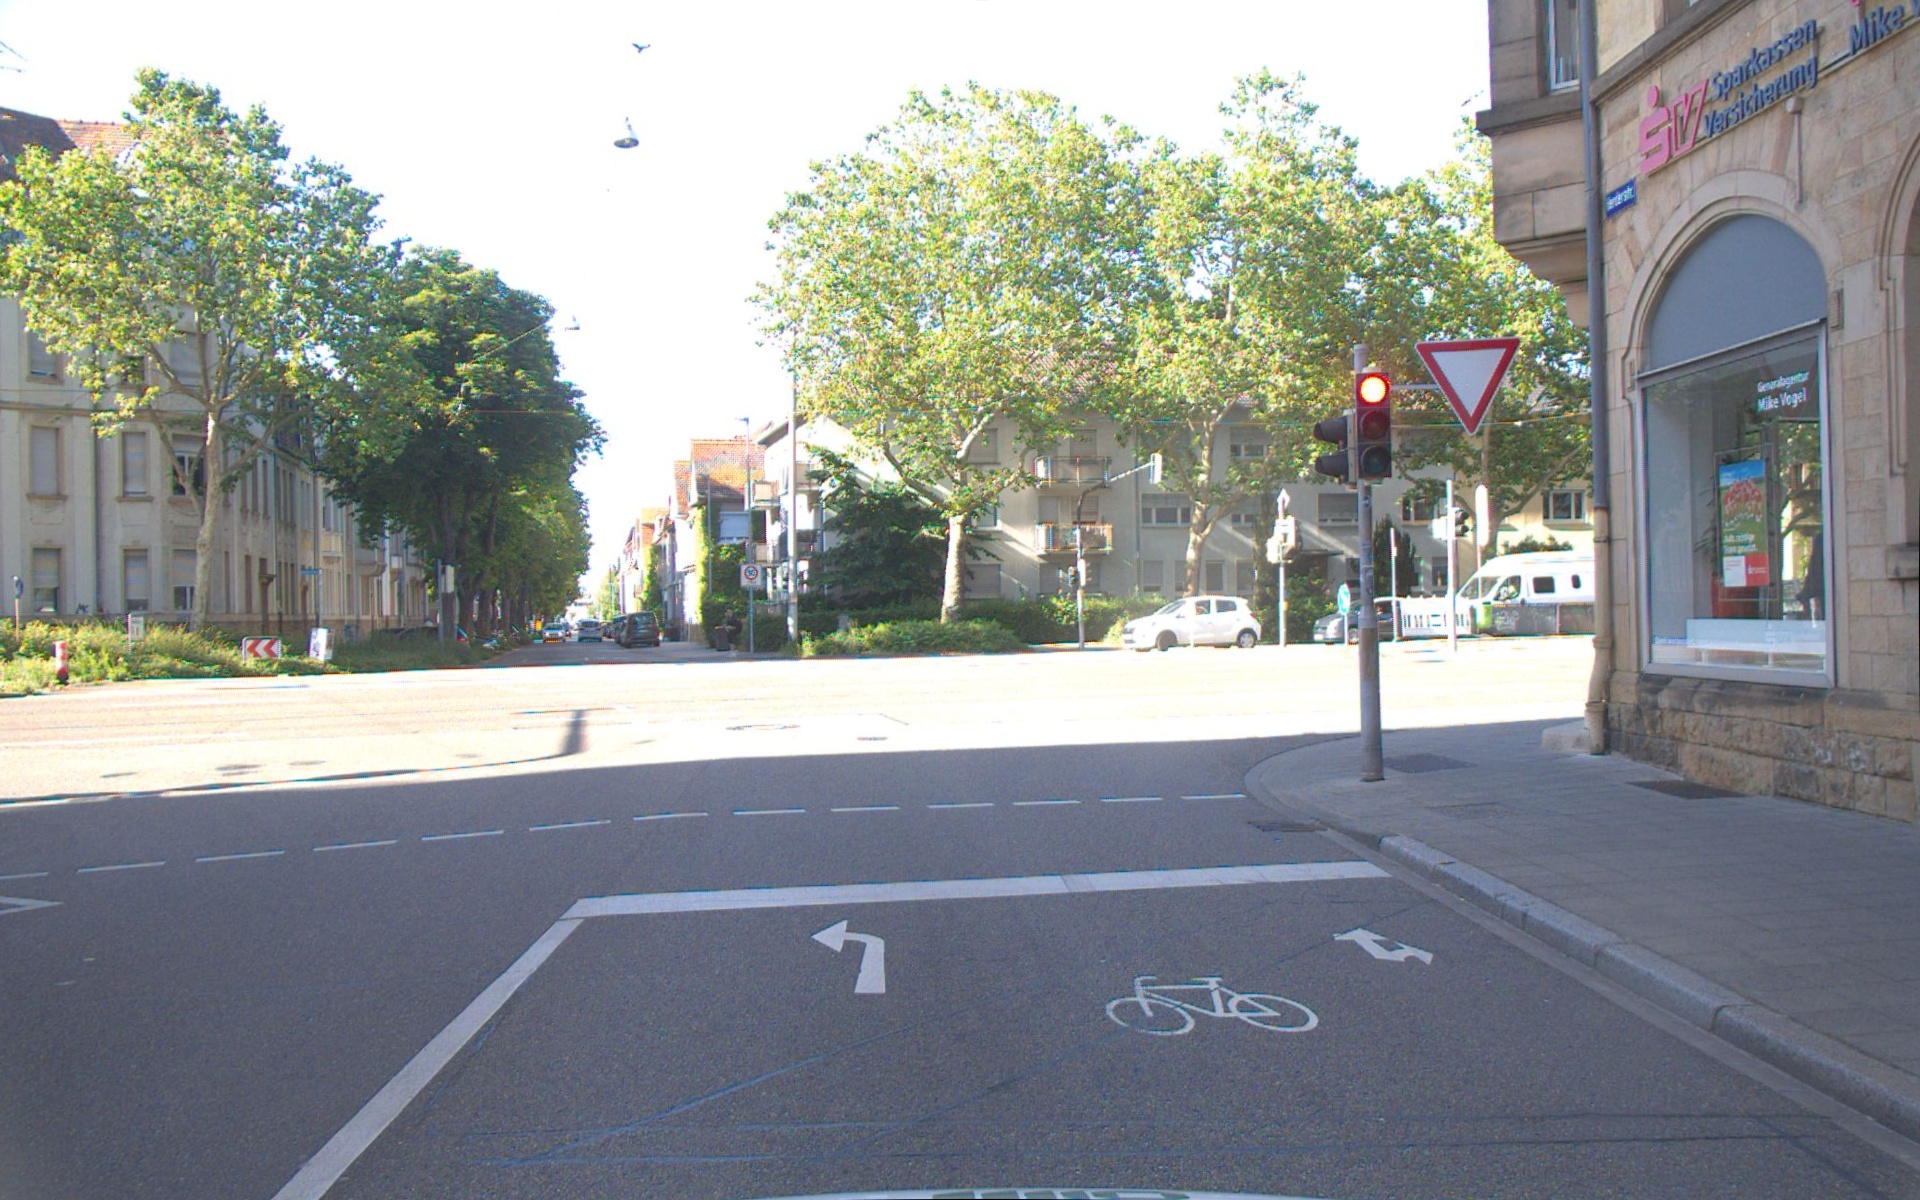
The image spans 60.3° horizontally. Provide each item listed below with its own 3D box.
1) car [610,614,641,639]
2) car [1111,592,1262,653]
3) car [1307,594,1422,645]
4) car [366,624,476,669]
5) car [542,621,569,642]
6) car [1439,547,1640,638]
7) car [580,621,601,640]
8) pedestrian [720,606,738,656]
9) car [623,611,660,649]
[{"bbox_3d":[-25.271,1.982,124.901,1.961,1.865,3.982,0,-1,-16],"label":"car"},{"bbox_3d":[6.144,0.585,44.909,3.727,1.498,1.622,-2,0,-17],"label":"car"},{"bbox_3d":[13.052,0.602,53.373,3.333,1.513,1.514,-2,0,-23],"label":"car"},{"bbox_3d":[-20.643,1.759,63.365,3.928,1.512,1.672,-2,0,-20],"label":"car"},{"bbox_3d":[-31.769,2.448,129.869,1.960,1.471,3.984,-2,0,-15],"label":"car"},{"bbox_3d":[18.105,-0.261,51.669,5.949,2.613,1.989,-2,0,-19],"label":"car"},{"bbox_3d":[-29.304,2.412,131.174,1.645,1.509,3.510,0,-1,-13],"label":"car"},{"bbox_3d":[-8.381,1.129,59.989,0.621,1.780,0.658,0,-1,-5],"label":"pedestrian"},{"bbox_3d":[-18.113,1.700,94.241,1.957,2.049,3.990,-2,0,-10],"label":"car"}]
